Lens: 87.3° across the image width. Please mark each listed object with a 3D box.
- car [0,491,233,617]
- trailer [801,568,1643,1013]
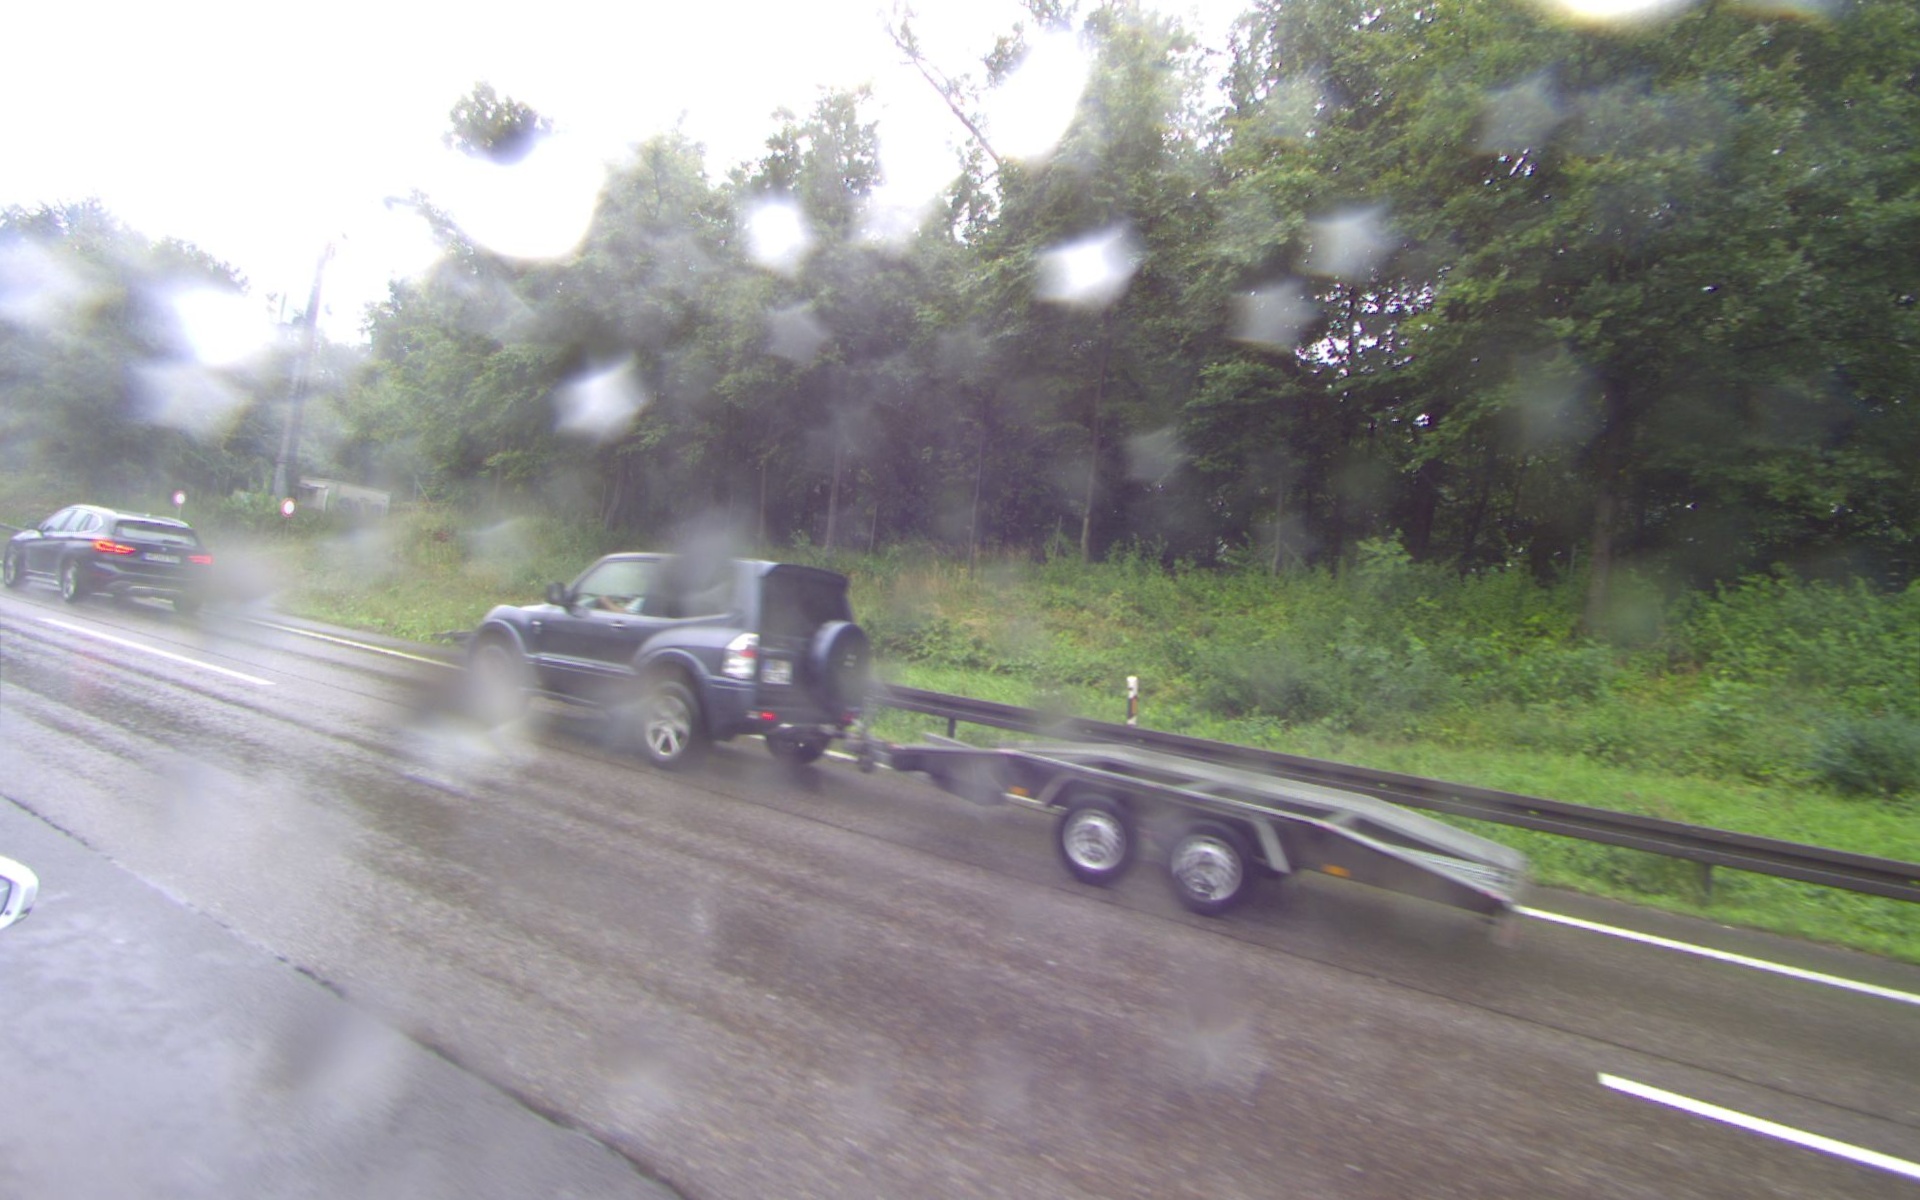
[{"bbox_3d":[-14.946,-0.834,17.566,4.689,1.602,1.993,7,-2,33],"label":"car"},{"bbox_3d":[1.623,0.989,7.123,4.997,1.734,2.248,7,-2,31],"label":"trailer"}]
